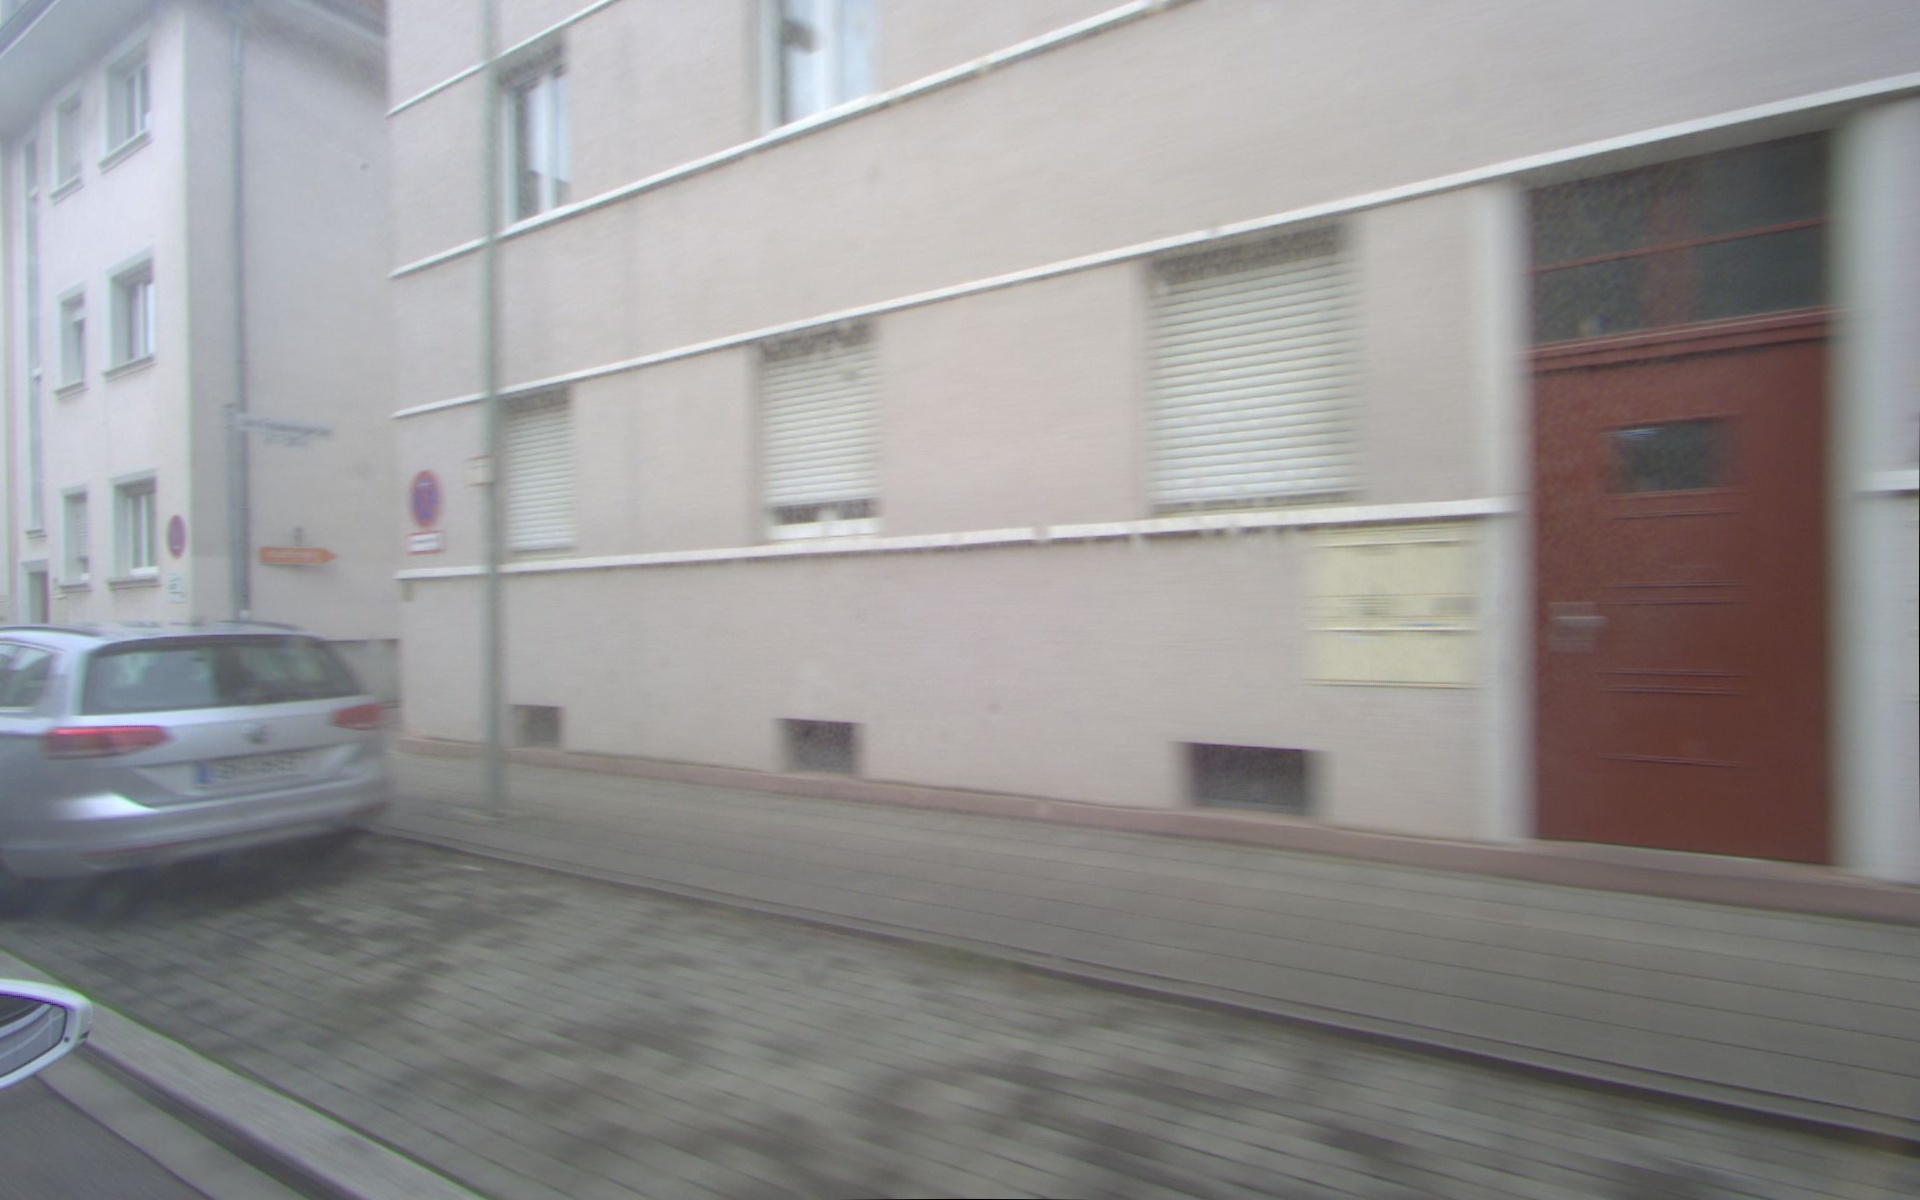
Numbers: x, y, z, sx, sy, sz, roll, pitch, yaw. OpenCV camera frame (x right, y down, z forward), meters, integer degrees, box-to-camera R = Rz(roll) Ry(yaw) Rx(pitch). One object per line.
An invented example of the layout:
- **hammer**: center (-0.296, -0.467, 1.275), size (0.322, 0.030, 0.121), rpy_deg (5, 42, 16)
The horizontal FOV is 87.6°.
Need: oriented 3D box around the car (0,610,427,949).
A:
- **car**: center (-5.528, 0.835, 6.335), size (4.533, 1.486, 1.752), rpy_deg (-1, -1, 31)
